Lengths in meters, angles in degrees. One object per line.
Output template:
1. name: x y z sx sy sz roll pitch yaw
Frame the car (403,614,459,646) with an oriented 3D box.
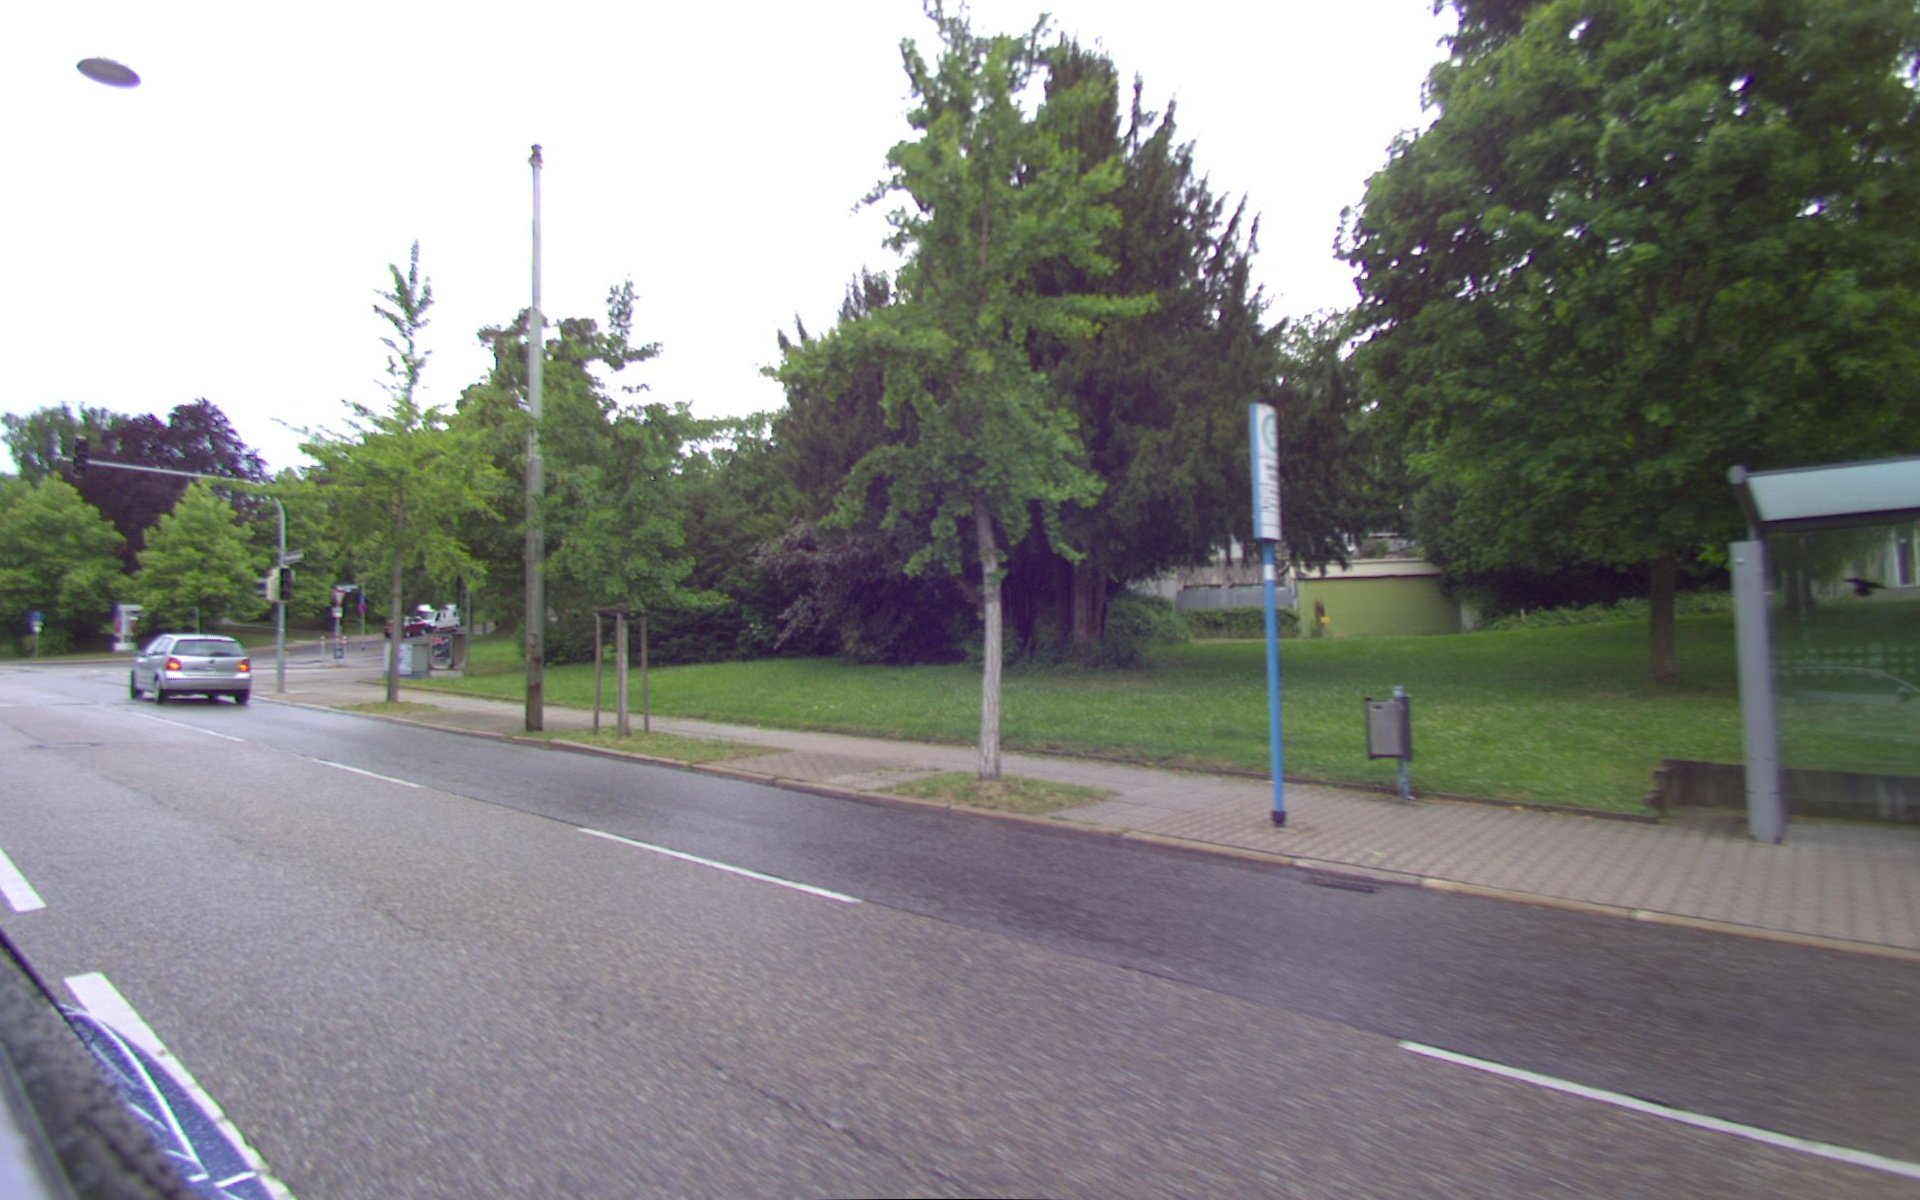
1. car: -46.421 2.629 88.920 2.126 2.720 5.672 -1 -1 -2

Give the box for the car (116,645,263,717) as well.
1. car: -16.921 1.748 22.167 3.998 1.410 1.703 -2 -6 41

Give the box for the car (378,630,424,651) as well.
1. car: -46.120 3.309 83.521 1.947 1.681 4.005 -1 -1 -6

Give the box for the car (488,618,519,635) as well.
1. car: -46.657 2.710 103.397 1.799 1.681 4.006 -1 -1 -7
